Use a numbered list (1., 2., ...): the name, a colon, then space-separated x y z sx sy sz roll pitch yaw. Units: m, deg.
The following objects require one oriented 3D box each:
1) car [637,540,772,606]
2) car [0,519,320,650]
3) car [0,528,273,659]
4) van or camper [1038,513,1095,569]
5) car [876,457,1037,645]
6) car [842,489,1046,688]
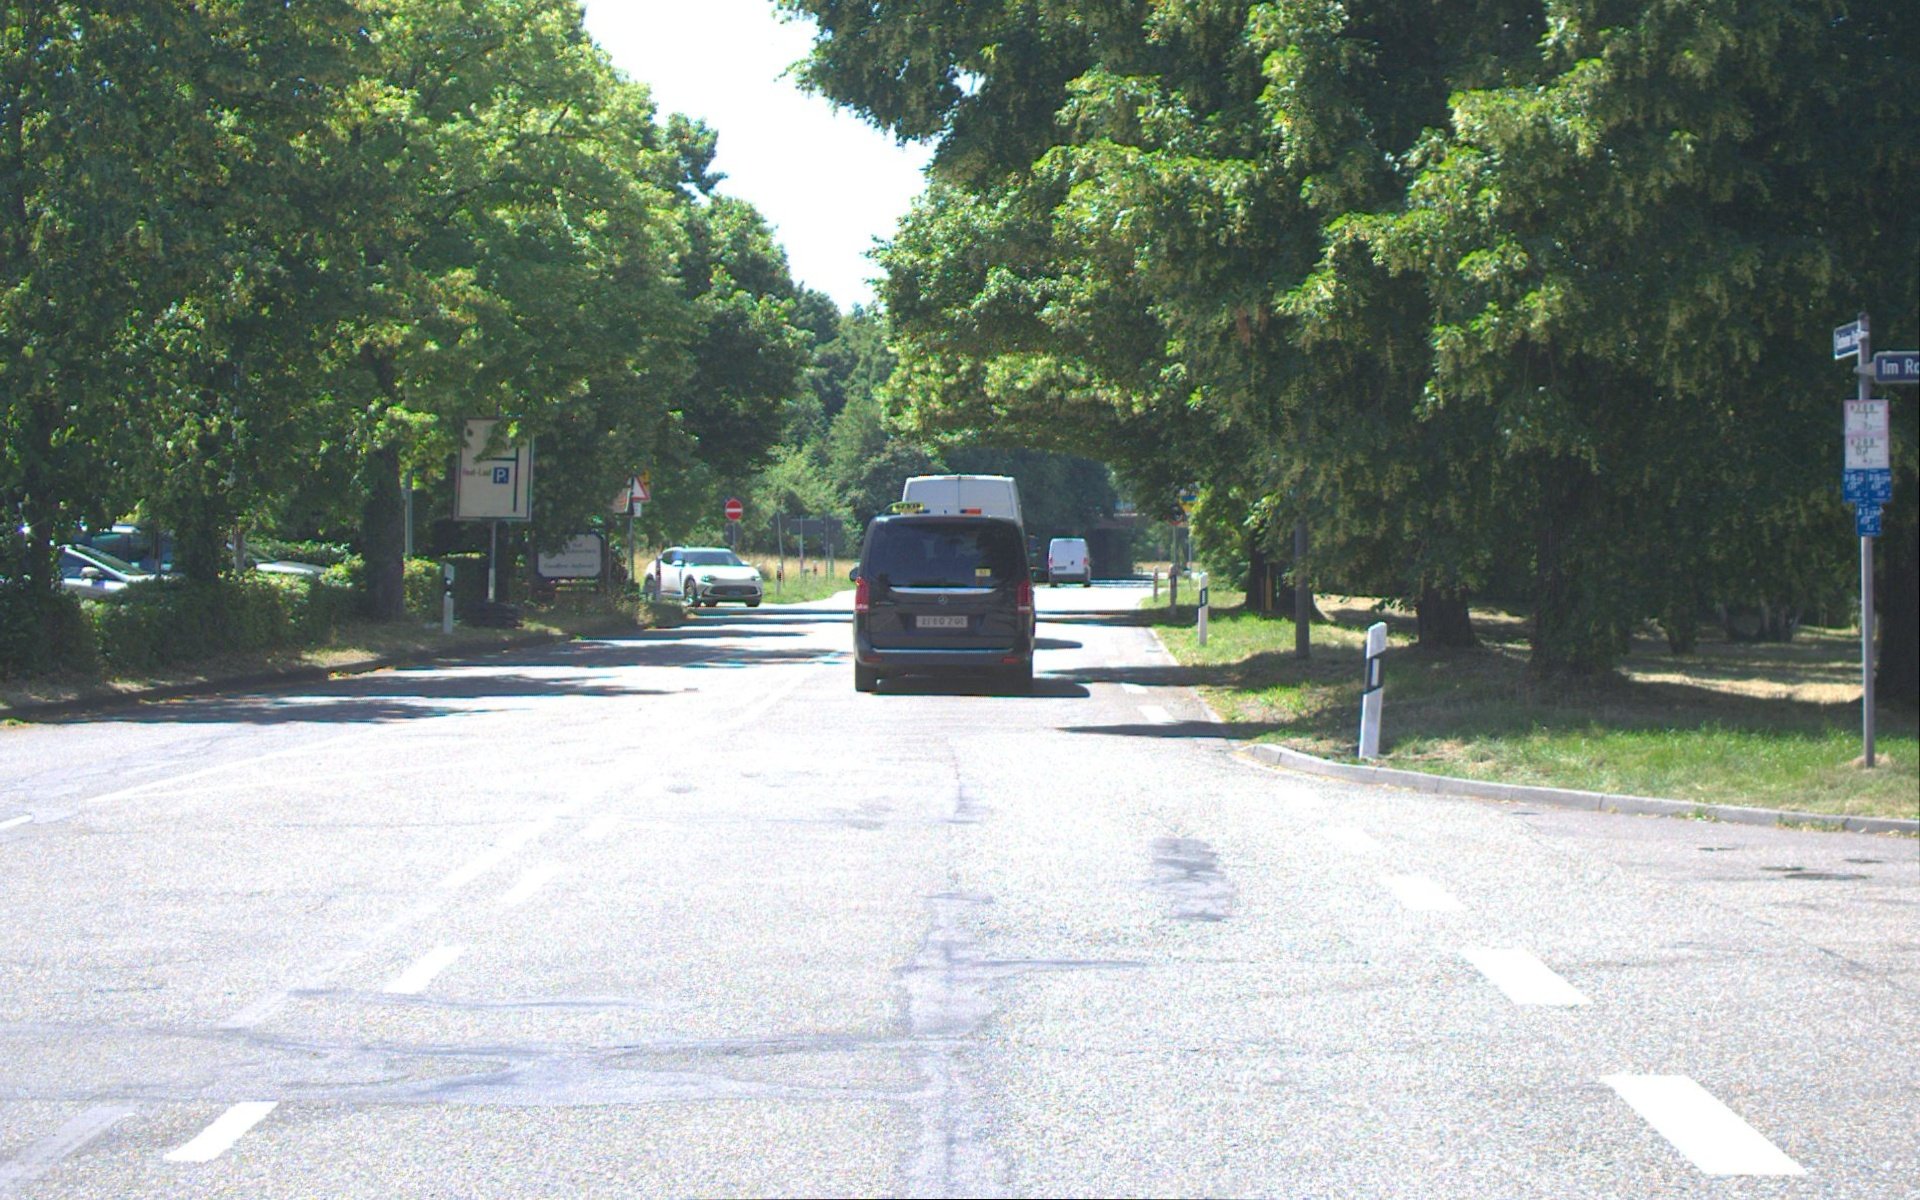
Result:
1. car: -6.732 -0.722 90.230 2.094 1.583 4.476 2 1 -24
2. car: -11.766 -0.239 50.262 4.400 1.770 2.072 2 1 0
3. car: -11.482 -0.114 45.392 4.400 1.614 1.895 2 1 0
4. van or camper: 5.706 -3.172 184.973 2.631 2.919 5.207 1 0 -3
5. car: -0.003 -0.734 52.815 2.078 2.693 4.666 2 1 4
6. car: -0.171 -0.146 37.242 1.993 1.946 5.005 2 1 0
